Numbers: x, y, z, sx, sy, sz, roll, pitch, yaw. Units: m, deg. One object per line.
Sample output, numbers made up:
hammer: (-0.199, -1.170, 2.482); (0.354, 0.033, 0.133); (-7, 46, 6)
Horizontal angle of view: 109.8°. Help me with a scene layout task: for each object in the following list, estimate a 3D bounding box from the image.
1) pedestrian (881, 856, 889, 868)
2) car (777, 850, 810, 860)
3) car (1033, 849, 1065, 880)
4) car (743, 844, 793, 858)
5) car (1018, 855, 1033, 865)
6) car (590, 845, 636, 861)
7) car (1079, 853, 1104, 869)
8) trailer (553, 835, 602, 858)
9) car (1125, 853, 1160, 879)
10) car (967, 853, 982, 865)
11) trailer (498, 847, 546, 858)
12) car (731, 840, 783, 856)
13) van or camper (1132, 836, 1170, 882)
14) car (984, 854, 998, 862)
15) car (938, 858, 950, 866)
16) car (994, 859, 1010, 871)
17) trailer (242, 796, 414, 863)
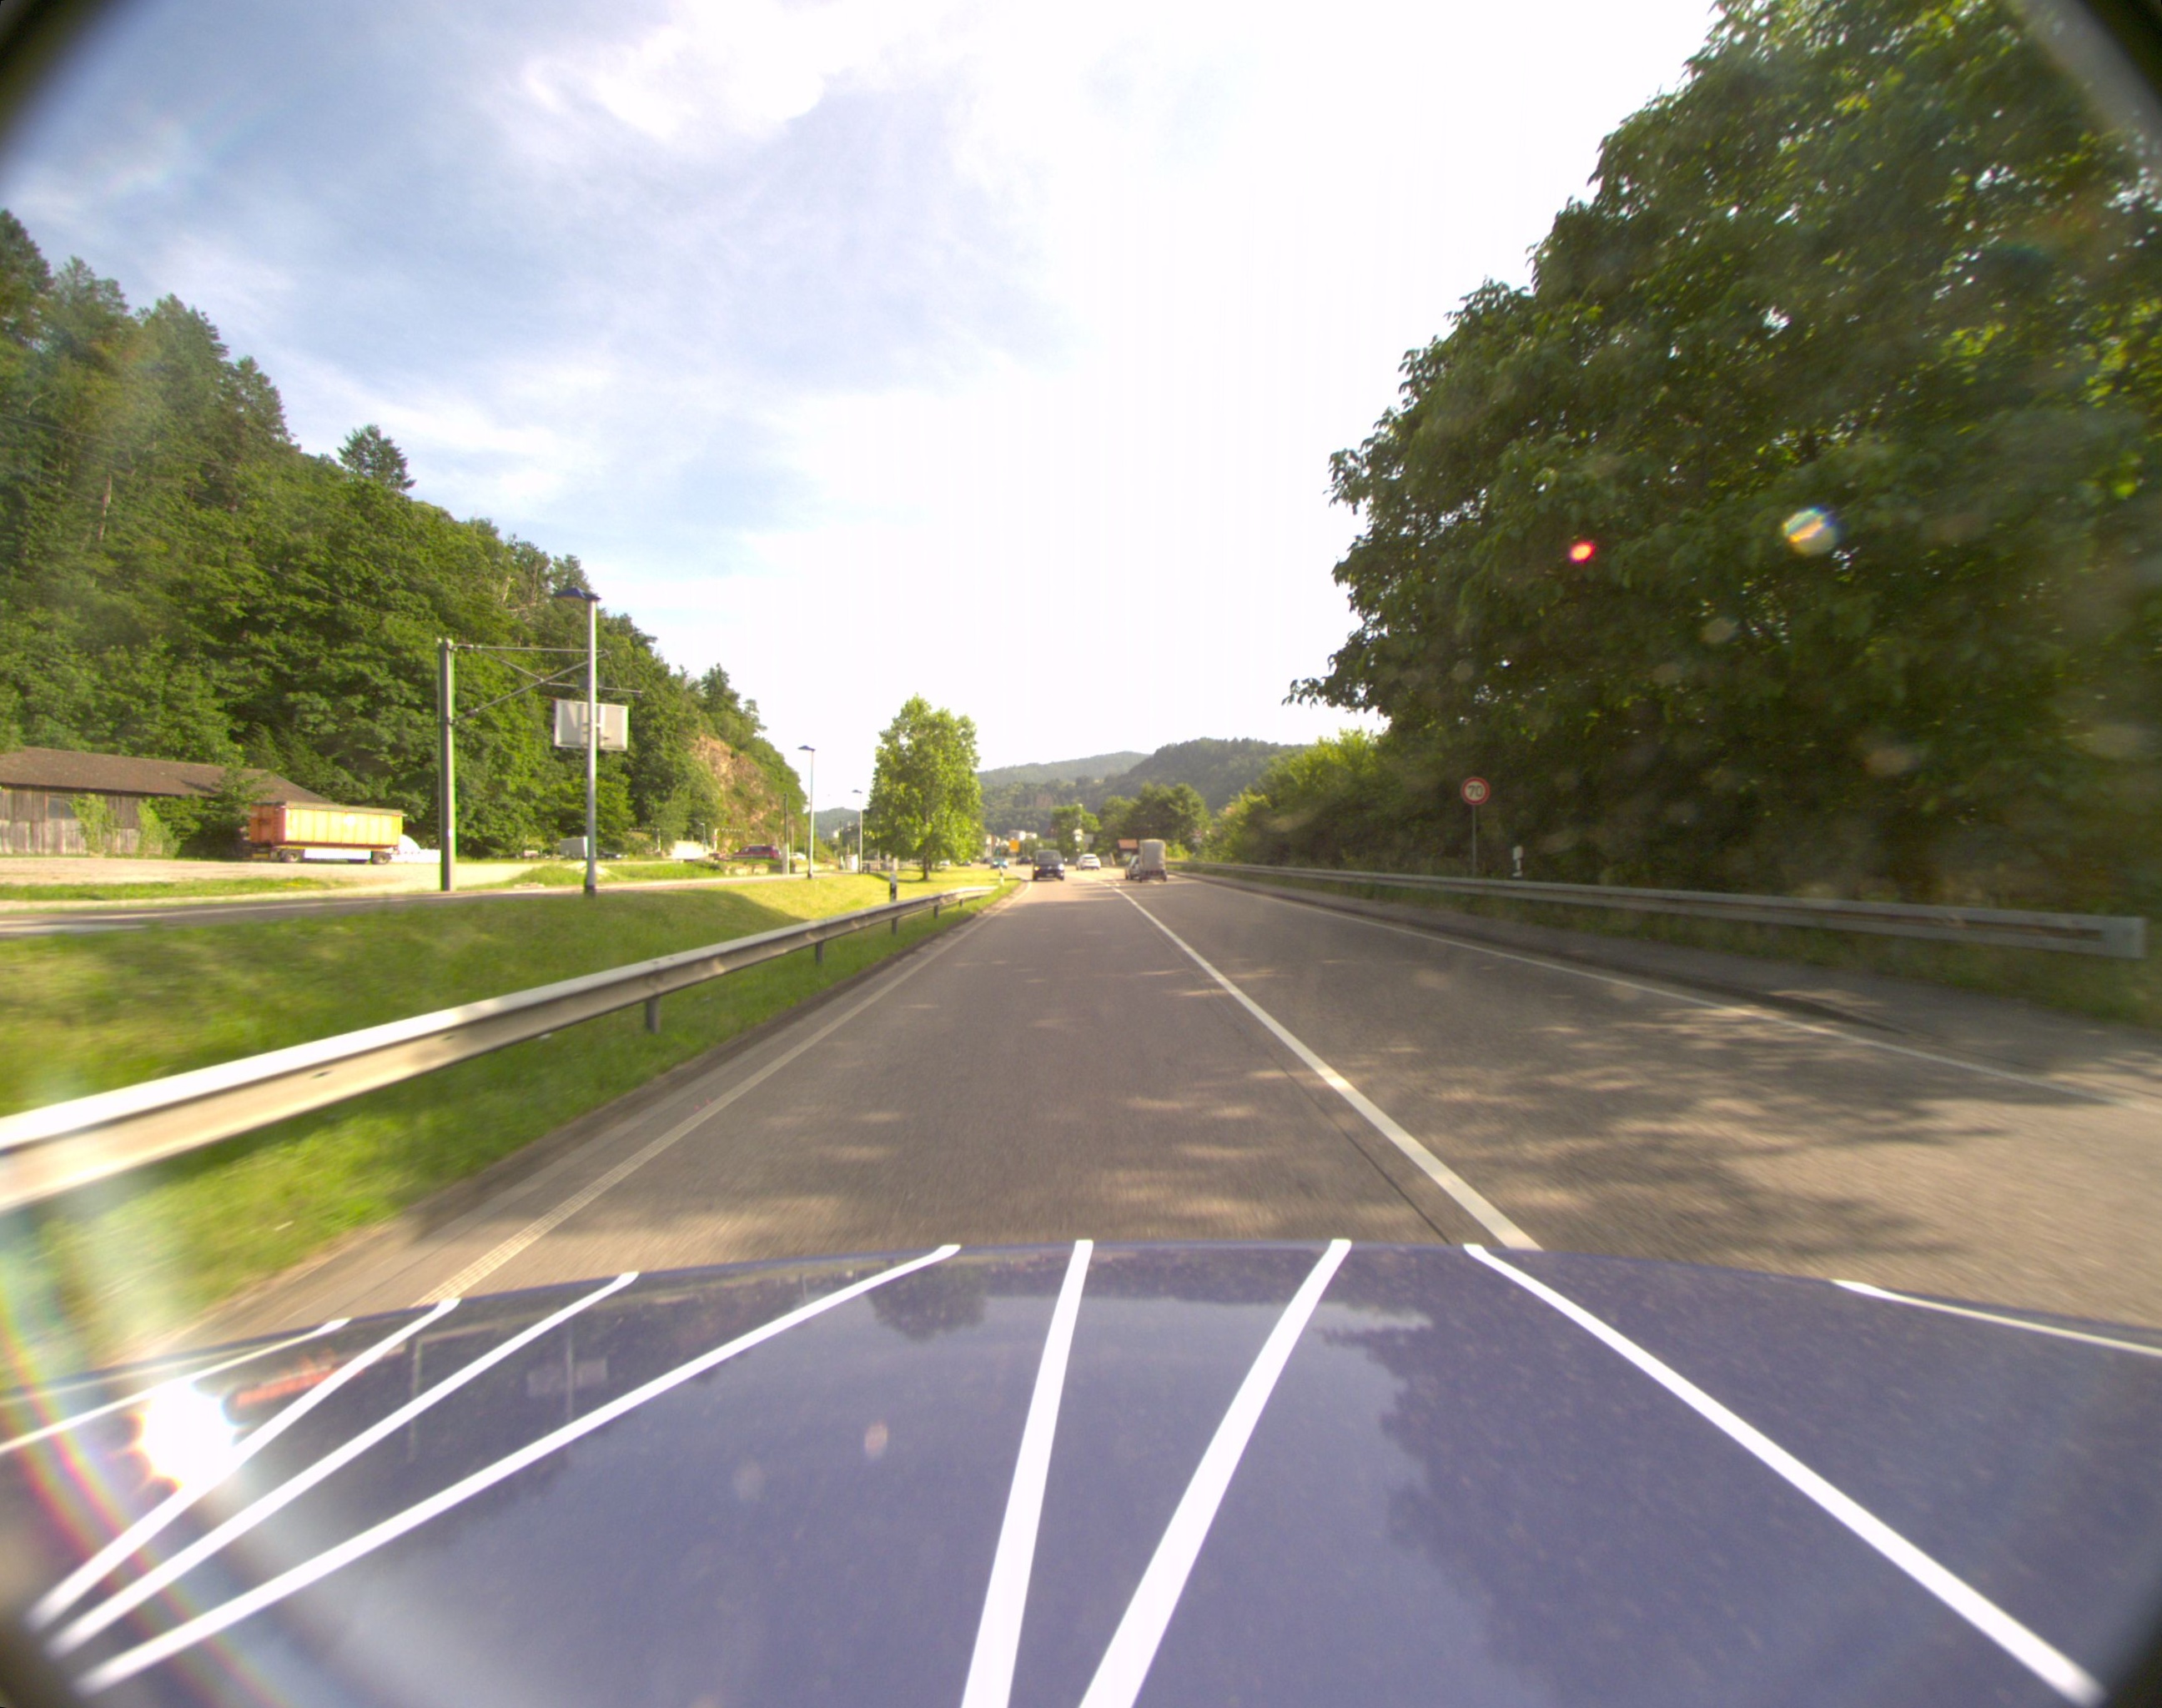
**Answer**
pedestrian: (-19.713, 0.826, 76.361); (0.637, 1.154, 0.726); (1, 0, -3)
car: (-40.799, 0.193, 108.001); (4.110, 1.390, 1.808); (-1, 0, -11)
car: (-2.023, 0.629, 48.553); (1.909, 1.868, 4.347); (-1, 0, -2)
car: (-36.462, -0.367, 88.639); (4.968, 1.578, 2.139); (-1, 0, -11)
car: (-8.709, 0.941, 118.158); (1.700, 1.394, 4.197); (-1, 0, -12)
car: (-46.100, -0.093, 74.915); (3.609, 1.478, 1.671); (1, 0, 6)
car: (0.996, 0.675, 74.266); (1.950, 1.477, 4.583); (-2, 0, -5)
trailer: (-48.582, -0.751, 73.359); (3.699, 2.177, 1.819); (0, 0, 8)
car: (3.684, 0.697, 46.166); (1.652, 1.428, 4.605); (-2, 0, 0)
car: (-17.925, 0.852, 127.671); (2.001, 1.783, 3.995); (3, 0, -13)
trailer: (-50.206, -0.145, 68.284); (3.067, 0.909, 1.738); (0, 0, 8)
car: (-35.626, -0.615, 83.600); (4.968, 1.681, 1.934); (-1, 0, -11)
van or camper: (3.790, 0.265, 41.813); (1.607, 2.315, 4.059); (-2, 0, 0)
car: (-17.471, 0.823, 147.149); (1.858, 1.461, 4.536); (-2, 0, -16)
car: (-26.603, 1.574, 147.628); (1.879, 1.452, 3.724); (1, 0, -17)
car: (-9.985, 1.346, 95.775); (1.769, 1.452, 3.573); (1, 0, -10)
trailer: (-47.404, -1.413, 48.236); (2.611, 3.870, 7.737); (1, 0, 8)
